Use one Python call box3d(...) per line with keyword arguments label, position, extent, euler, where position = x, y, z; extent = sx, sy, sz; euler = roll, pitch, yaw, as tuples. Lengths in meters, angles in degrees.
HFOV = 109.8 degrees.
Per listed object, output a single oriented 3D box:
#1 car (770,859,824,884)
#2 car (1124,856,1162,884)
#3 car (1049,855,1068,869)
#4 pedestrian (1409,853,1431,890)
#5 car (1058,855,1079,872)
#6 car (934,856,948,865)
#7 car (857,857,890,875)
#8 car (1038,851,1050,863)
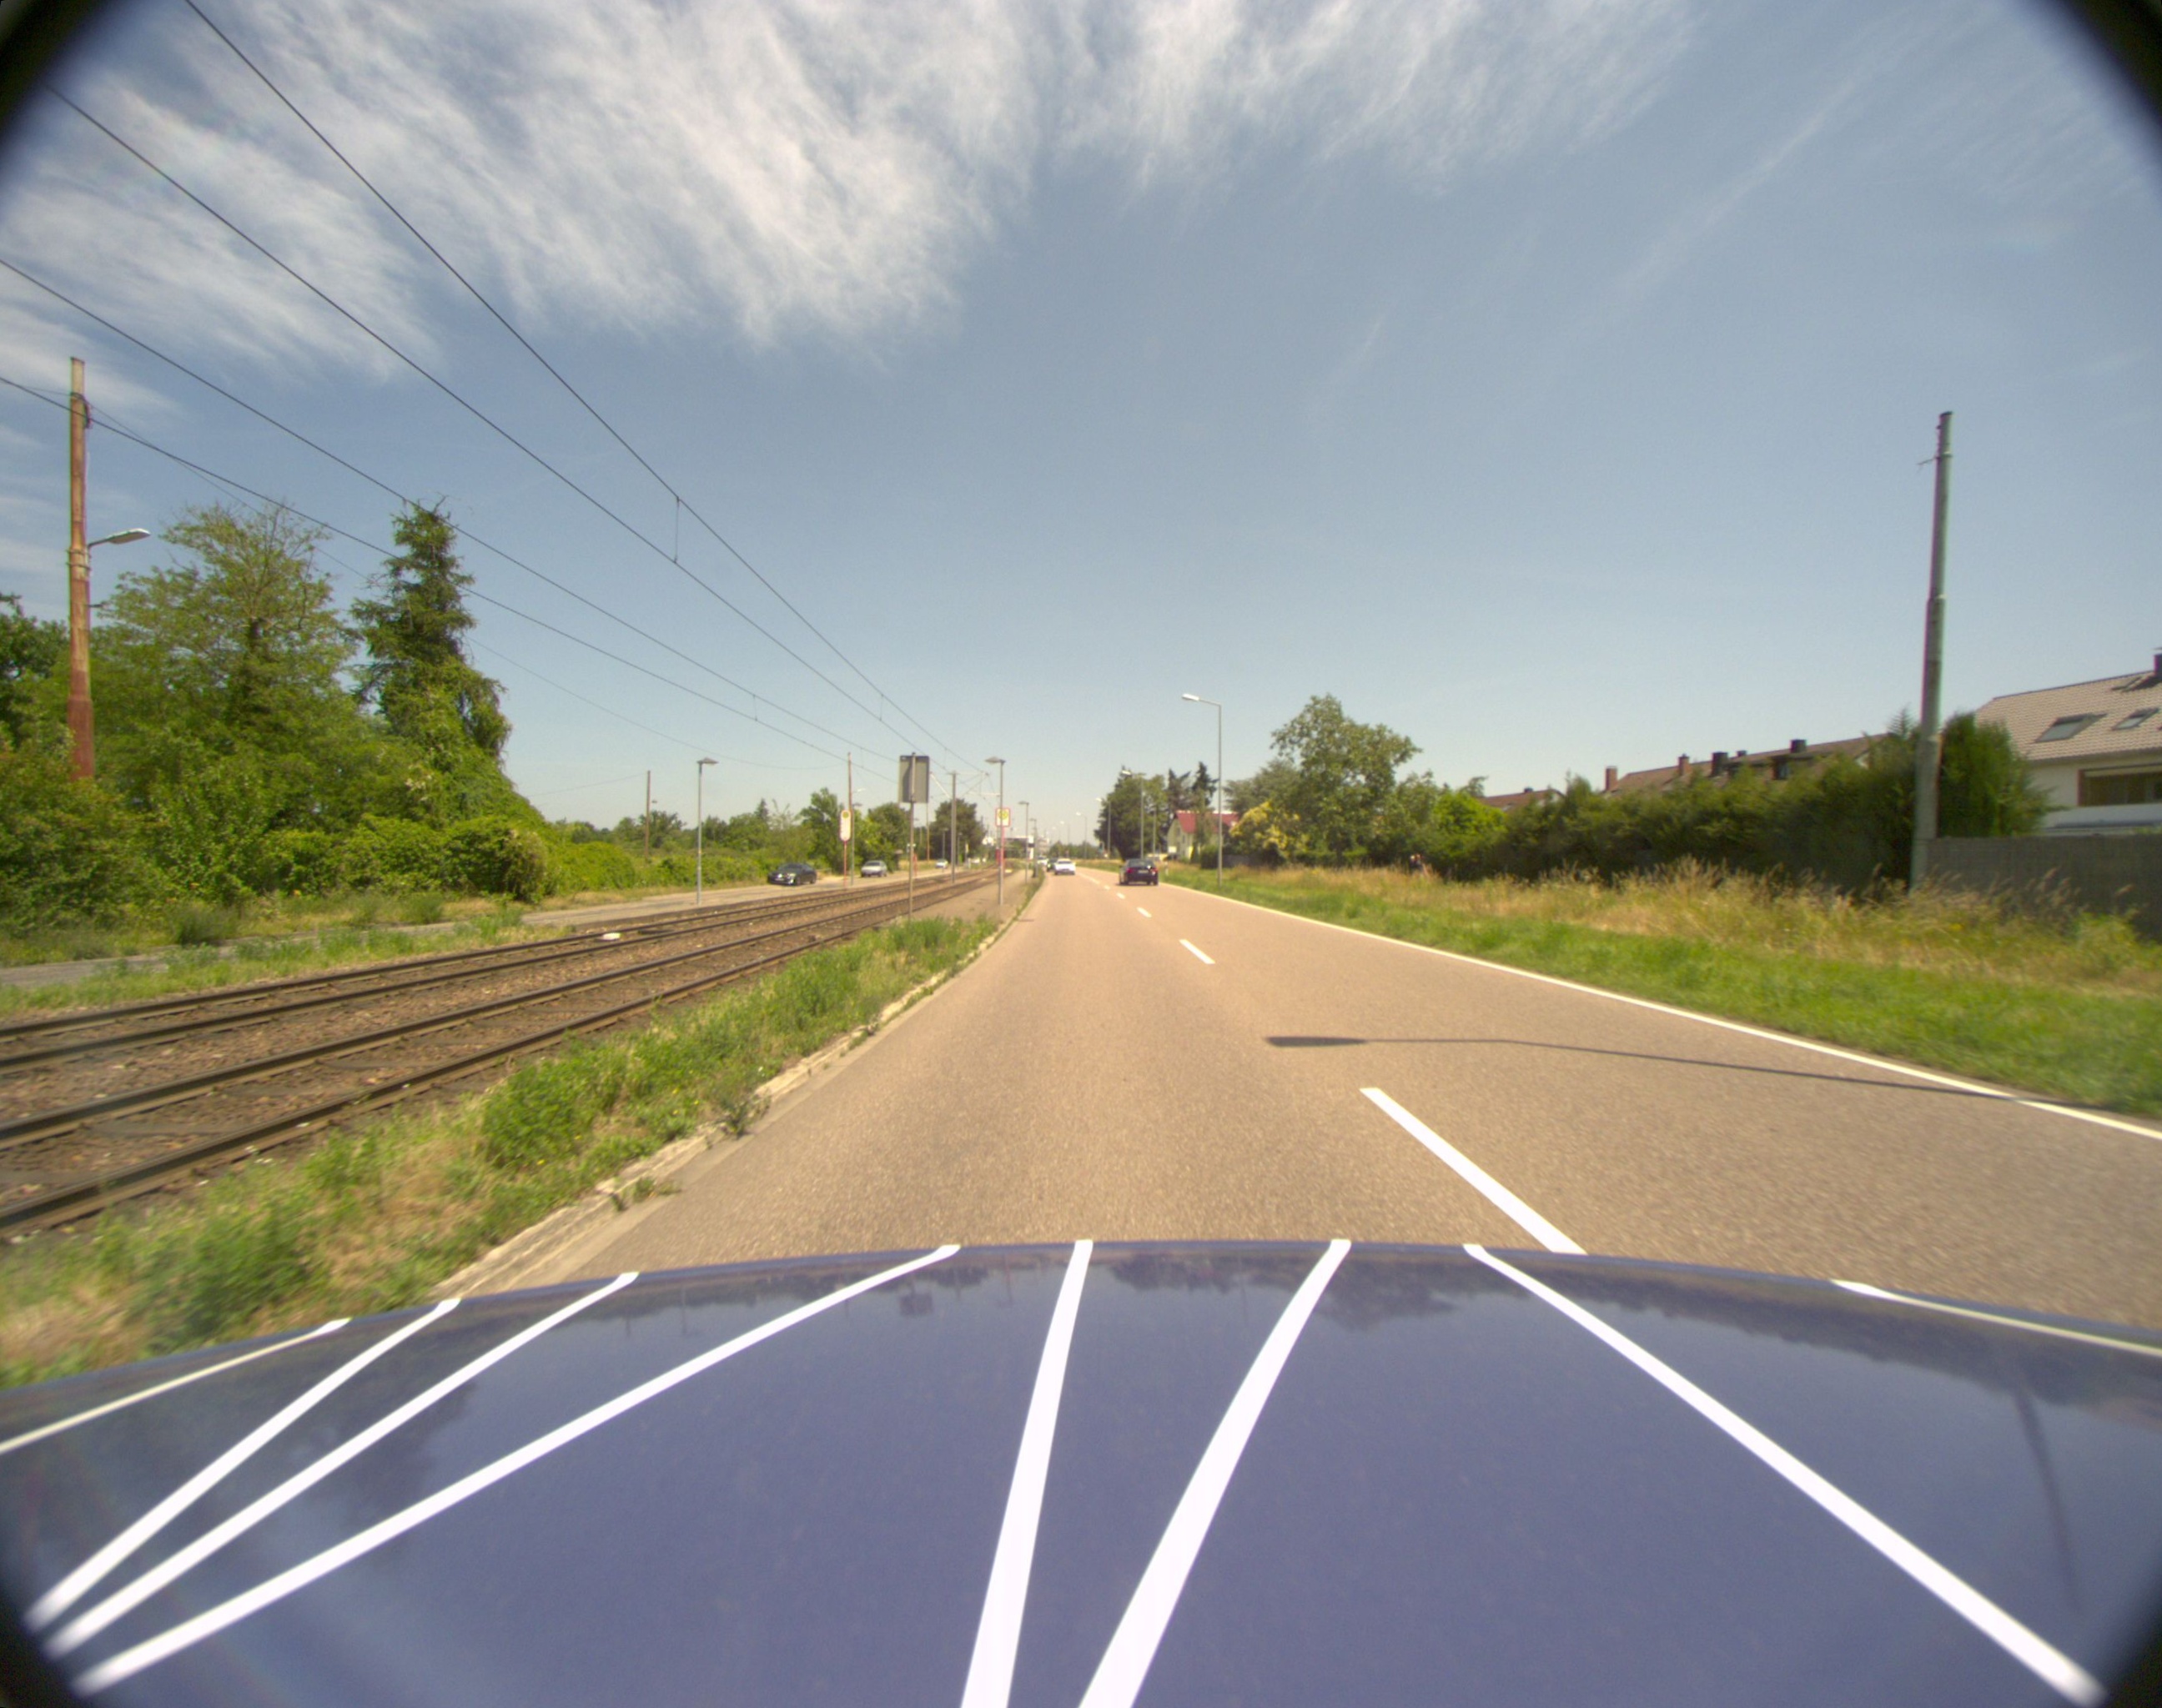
box3d(label="car", position=(-17.679, 1.035, 47.535), extent=(1.624, 1.414, 4.871), euler=(-1, 0, -2))
box3d(label="car", position=(3.364, 0.857, 41.996), extent=(1.711, 1.396, 4.707), euler=(-1, 0, 0))
box3d(label="car", position=(-2.561, 0.914, 87.309), extent=(1.999, 1.576, 3.999), euler=(-1, 0, 0))
box3d(label="pedestrian", position=(13.649, 0.709, 30.584), extent=(0.610, 1.469, 0.633), euler=(-1, 1, -1))
box3d(label="car", position=(-1.116, 0.859, 70.582), extent=(1.856, 1.447, 3.706), euler=(-1, 0, 0))
box3d(label="car", position=(-22.344, 1.033, 121.681), extent=(1.718, 1.480, 3.999), euler=(-1, 0, -4))
box3d(label="car", position=(-17.999, 1.023, 66.117), extent=(1.944, 1.414, 3.999), euler=(-1, 0, -3))
box3d(label="car", position=(-6.369, 0.494, 131.932), extent=(1.938, 2.002, 3.999), euler=(-1, 0, -2))
